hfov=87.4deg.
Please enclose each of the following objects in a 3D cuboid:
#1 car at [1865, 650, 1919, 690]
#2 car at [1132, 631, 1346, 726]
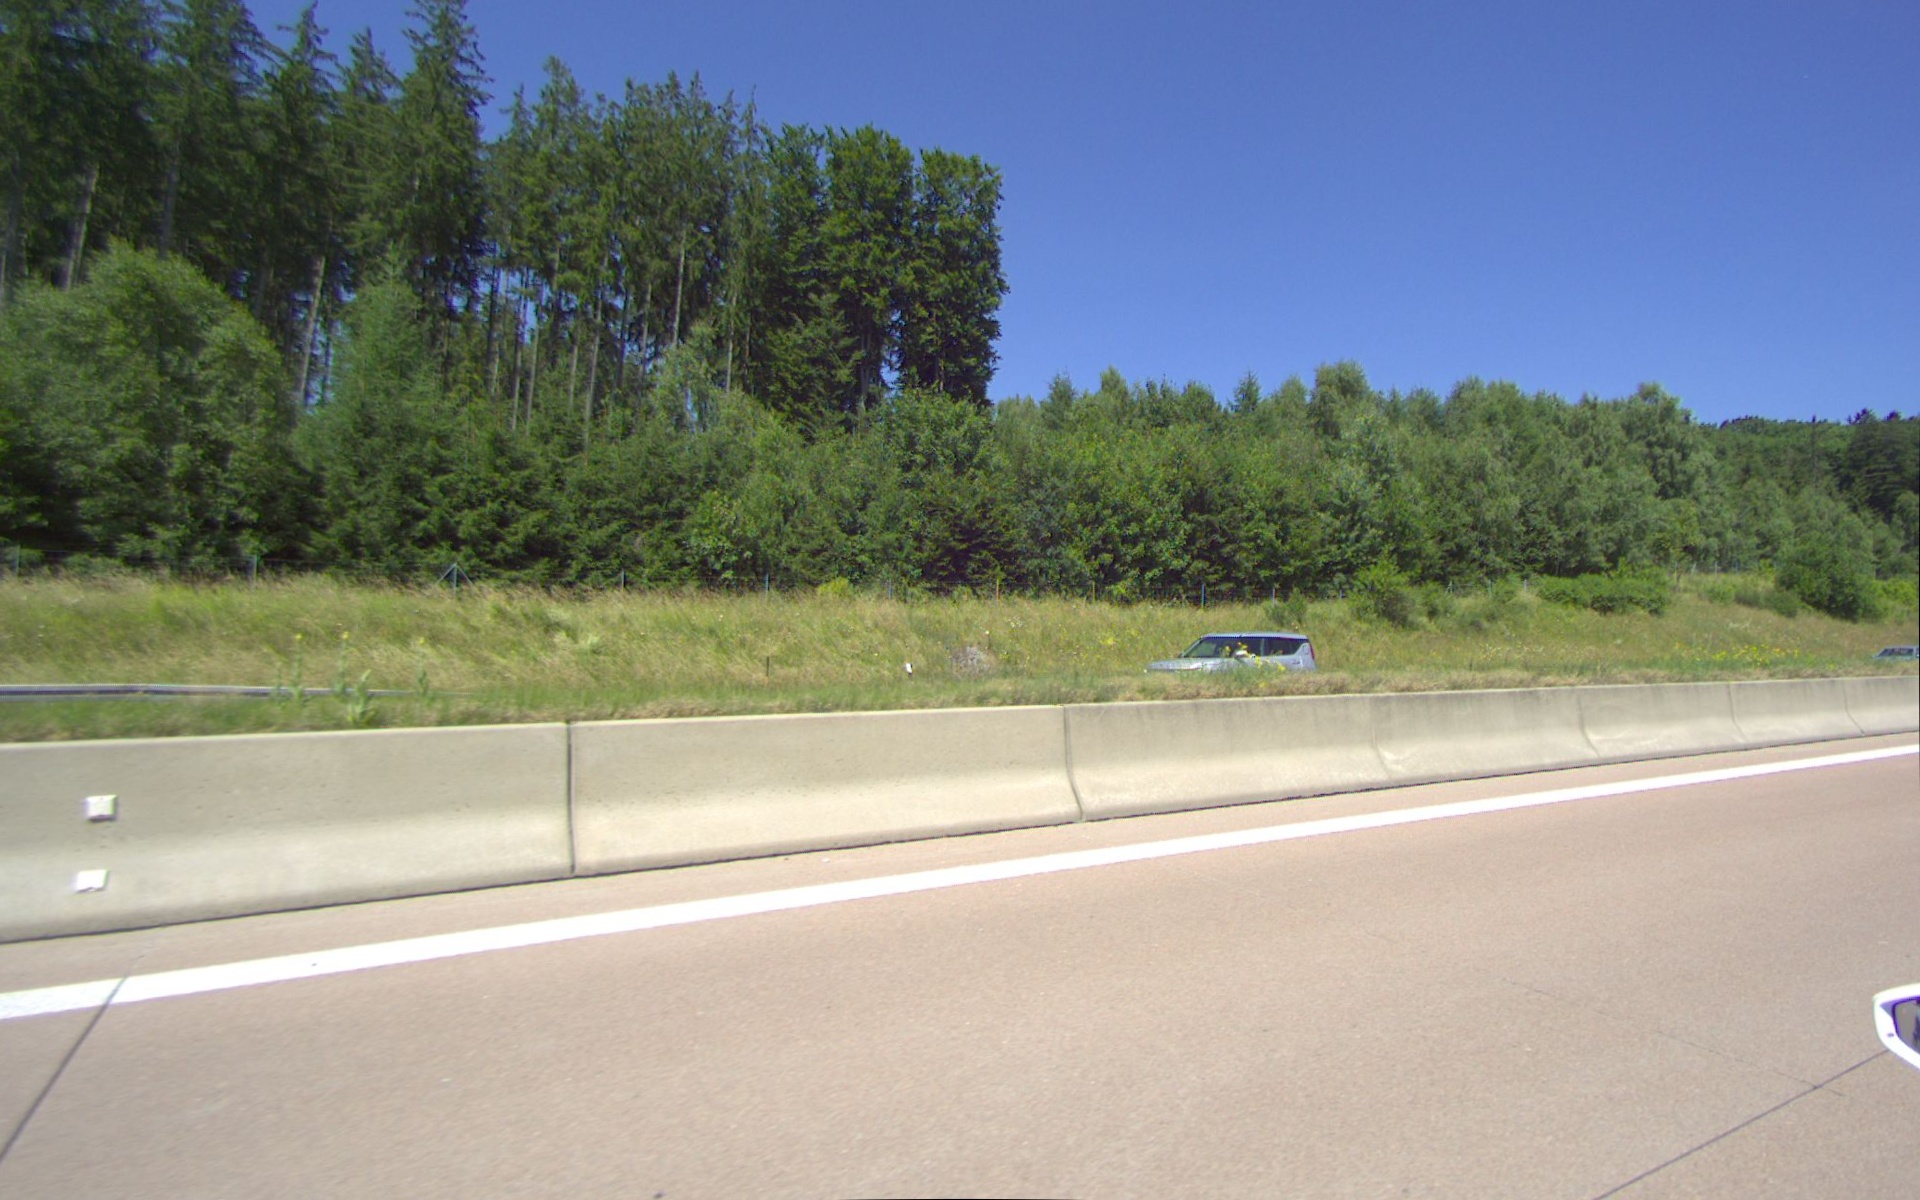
[{"bbox_3d":[45.687,3.347,48.476,4.415,1.761,1.880,1,-1,-33],"label":"car"},{"bbox_3d":[5.945,1.578,21.242,4.414,1.761,1.881,1,-1,-32],"label":"car"}]
